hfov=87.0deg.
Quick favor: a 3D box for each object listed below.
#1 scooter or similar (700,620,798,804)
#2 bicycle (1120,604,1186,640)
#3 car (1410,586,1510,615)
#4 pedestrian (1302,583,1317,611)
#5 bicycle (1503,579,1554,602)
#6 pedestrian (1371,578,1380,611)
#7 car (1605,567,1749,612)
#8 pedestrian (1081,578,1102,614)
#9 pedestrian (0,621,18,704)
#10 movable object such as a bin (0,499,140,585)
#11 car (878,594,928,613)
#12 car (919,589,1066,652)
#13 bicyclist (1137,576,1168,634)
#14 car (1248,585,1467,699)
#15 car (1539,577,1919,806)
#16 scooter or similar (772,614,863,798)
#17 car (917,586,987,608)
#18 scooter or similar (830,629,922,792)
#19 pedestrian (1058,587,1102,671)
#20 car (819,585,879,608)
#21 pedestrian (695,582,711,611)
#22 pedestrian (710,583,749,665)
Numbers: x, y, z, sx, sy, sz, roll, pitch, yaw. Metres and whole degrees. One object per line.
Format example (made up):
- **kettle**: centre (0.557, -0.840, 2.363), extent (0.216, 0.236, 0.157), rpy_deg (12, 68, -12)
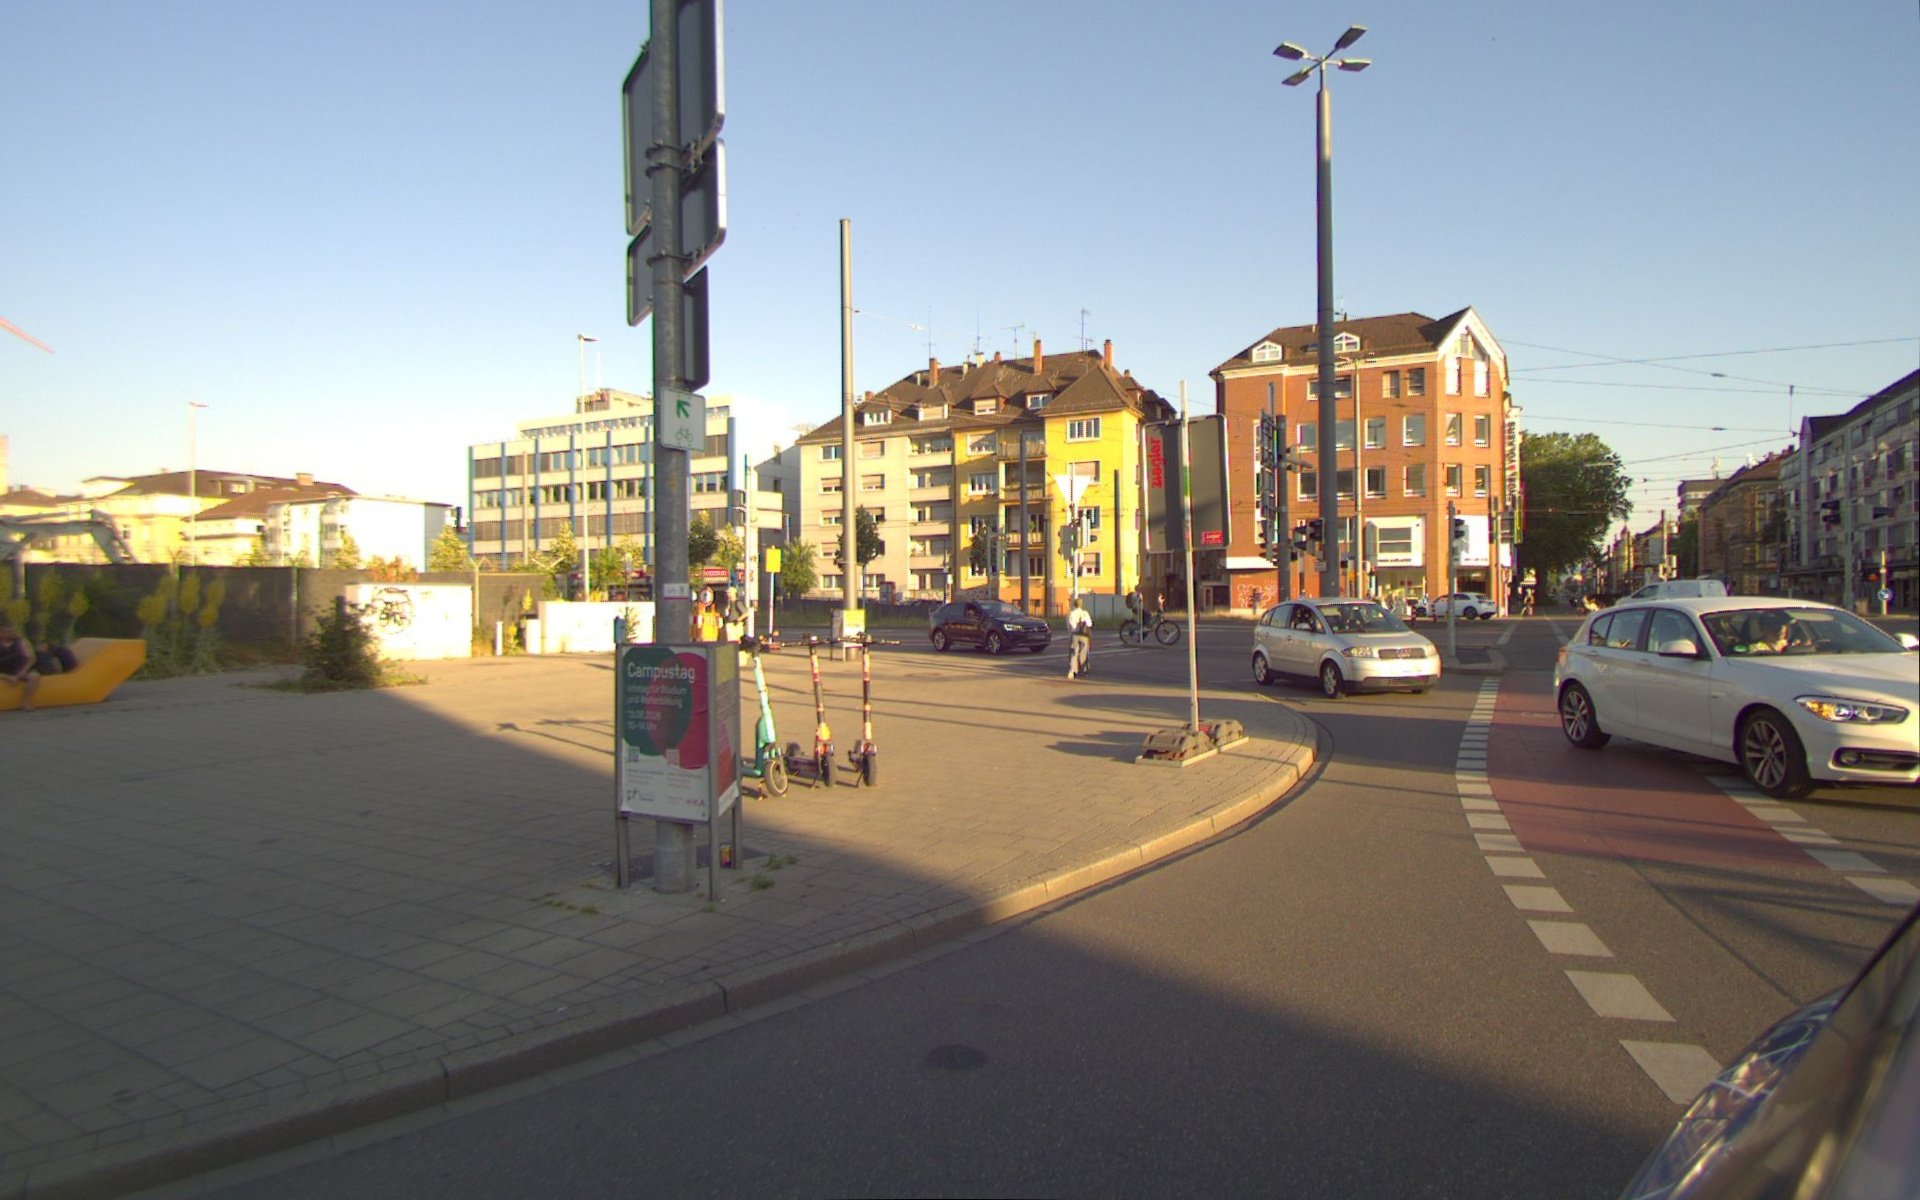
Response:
- **scooter or similar**: centre (-1.711, 0.818, 8.064), extent (0.599, 1.276, 1.529), rpy_deg (-1, 0, -17)
- **bicycle**: centre (5.705, 0.648, 29.893), extent (1.826, 1.036, 0.592), rpy_deg (0, 0, 23)
- **car**: centre (26.994, 0.016, 54.767), extent (1.784, 1.467, 4.559), rpy_deg (-1, 1, -38)
- **pedestrian**: centre (22.450, -0.199, 64.970), extent (0.861, 1.800, 0.912), rpy_deg (-1, 1, 18)
- **bicycle**: centre (42.612, -0.702, 75.891), extent (3.279, 1.747, 1.058), rpy_deg (0, 0, 30)
- **pedestrian**: centre (22.302, -0.287, 54.351), extent (0.414, 1.729, 0.511), rpy_deg (0, 0, 24)
- **car**: centre (31.241, -0.453, 44.307), extent (1.959, 1.861, 4.886), rpy_deg (-1, 0, -20)
- **pedestrian**: centre (5.884, -0.183, 45.167), extent (0.635, 1.560, 0.696), rpy_deg (0, 0, 44)
- **pedestrian**: centre (-14.261, 0.908, 14.631), extent (0.983, 1.172, 0.726), rpy_deg (-1, 0, 33)
- **movable object such as a bin**: centre (-23.534, -1.401, 24.967), extent (4.926, 2.039, 2.001), rpy_deg (-1, 1, -33)
- **car**: centre (-4.427, 0.286, 78.422), extent (3.506, 1.438, 1.724), rpy_deg (0, 0, 25)
- **car**: centre (0.850, 0.525, 29.056), extent (1.908, 1.637, 4.390), rpy_deg (-1, 1, -37)
- **bicyclist**: centre (5.691, 0.145, 29.900), extent (0.740, 1.692, 0.591), rpy_deg (-2, 1, 24)
- **car**: centre (6.335, 0.588, 16.612), extent (1.647, 1.580, 3.732), rpy_deg (-2, 1, -8)
- **car**: centre (6.889, 0.538, 8.513), extent (1.883, 1.423, 4.298), rpy_deg (-1, 1, 6)
- **scooter or similar**: centre (-1.194, 0.790, 8.272), extent (0.451, 1.309, 1.656), rpy_deg (-1, 0, -17)
- **car**: centre (-0.570, -0.234, 72.053), extent (4.638, 1.522, 1.907), rpy_deg (0, 1, 17)
- **scooter or similar**: centre (-0.728, 0.863, 8.448), extent (0.451, 1.181, 1.407), rpy_deg (0, 0, -18)
- **pedestrian**: centre (2.385, 0.558, 20.110), extent (0.685, 1.634, 0.589), rpy_deg (0, 0, 35)
- **car**: centre (-8.860, -0.289, 80.583), extent (4.304, 1.726, 2.101), rpy_deg (0, 1, 25)
- **pedestrian**: centre (-14.220, -0.183, 56.030), extent (0.684, 1.611, 0.560), rpy_deg (0, 0, 30)
- **pedestrian**: centre (-5.057, 0.503, 22.185), extent (0.804, 1.757, 0.946), rpy_deg (0, 0, -15)
